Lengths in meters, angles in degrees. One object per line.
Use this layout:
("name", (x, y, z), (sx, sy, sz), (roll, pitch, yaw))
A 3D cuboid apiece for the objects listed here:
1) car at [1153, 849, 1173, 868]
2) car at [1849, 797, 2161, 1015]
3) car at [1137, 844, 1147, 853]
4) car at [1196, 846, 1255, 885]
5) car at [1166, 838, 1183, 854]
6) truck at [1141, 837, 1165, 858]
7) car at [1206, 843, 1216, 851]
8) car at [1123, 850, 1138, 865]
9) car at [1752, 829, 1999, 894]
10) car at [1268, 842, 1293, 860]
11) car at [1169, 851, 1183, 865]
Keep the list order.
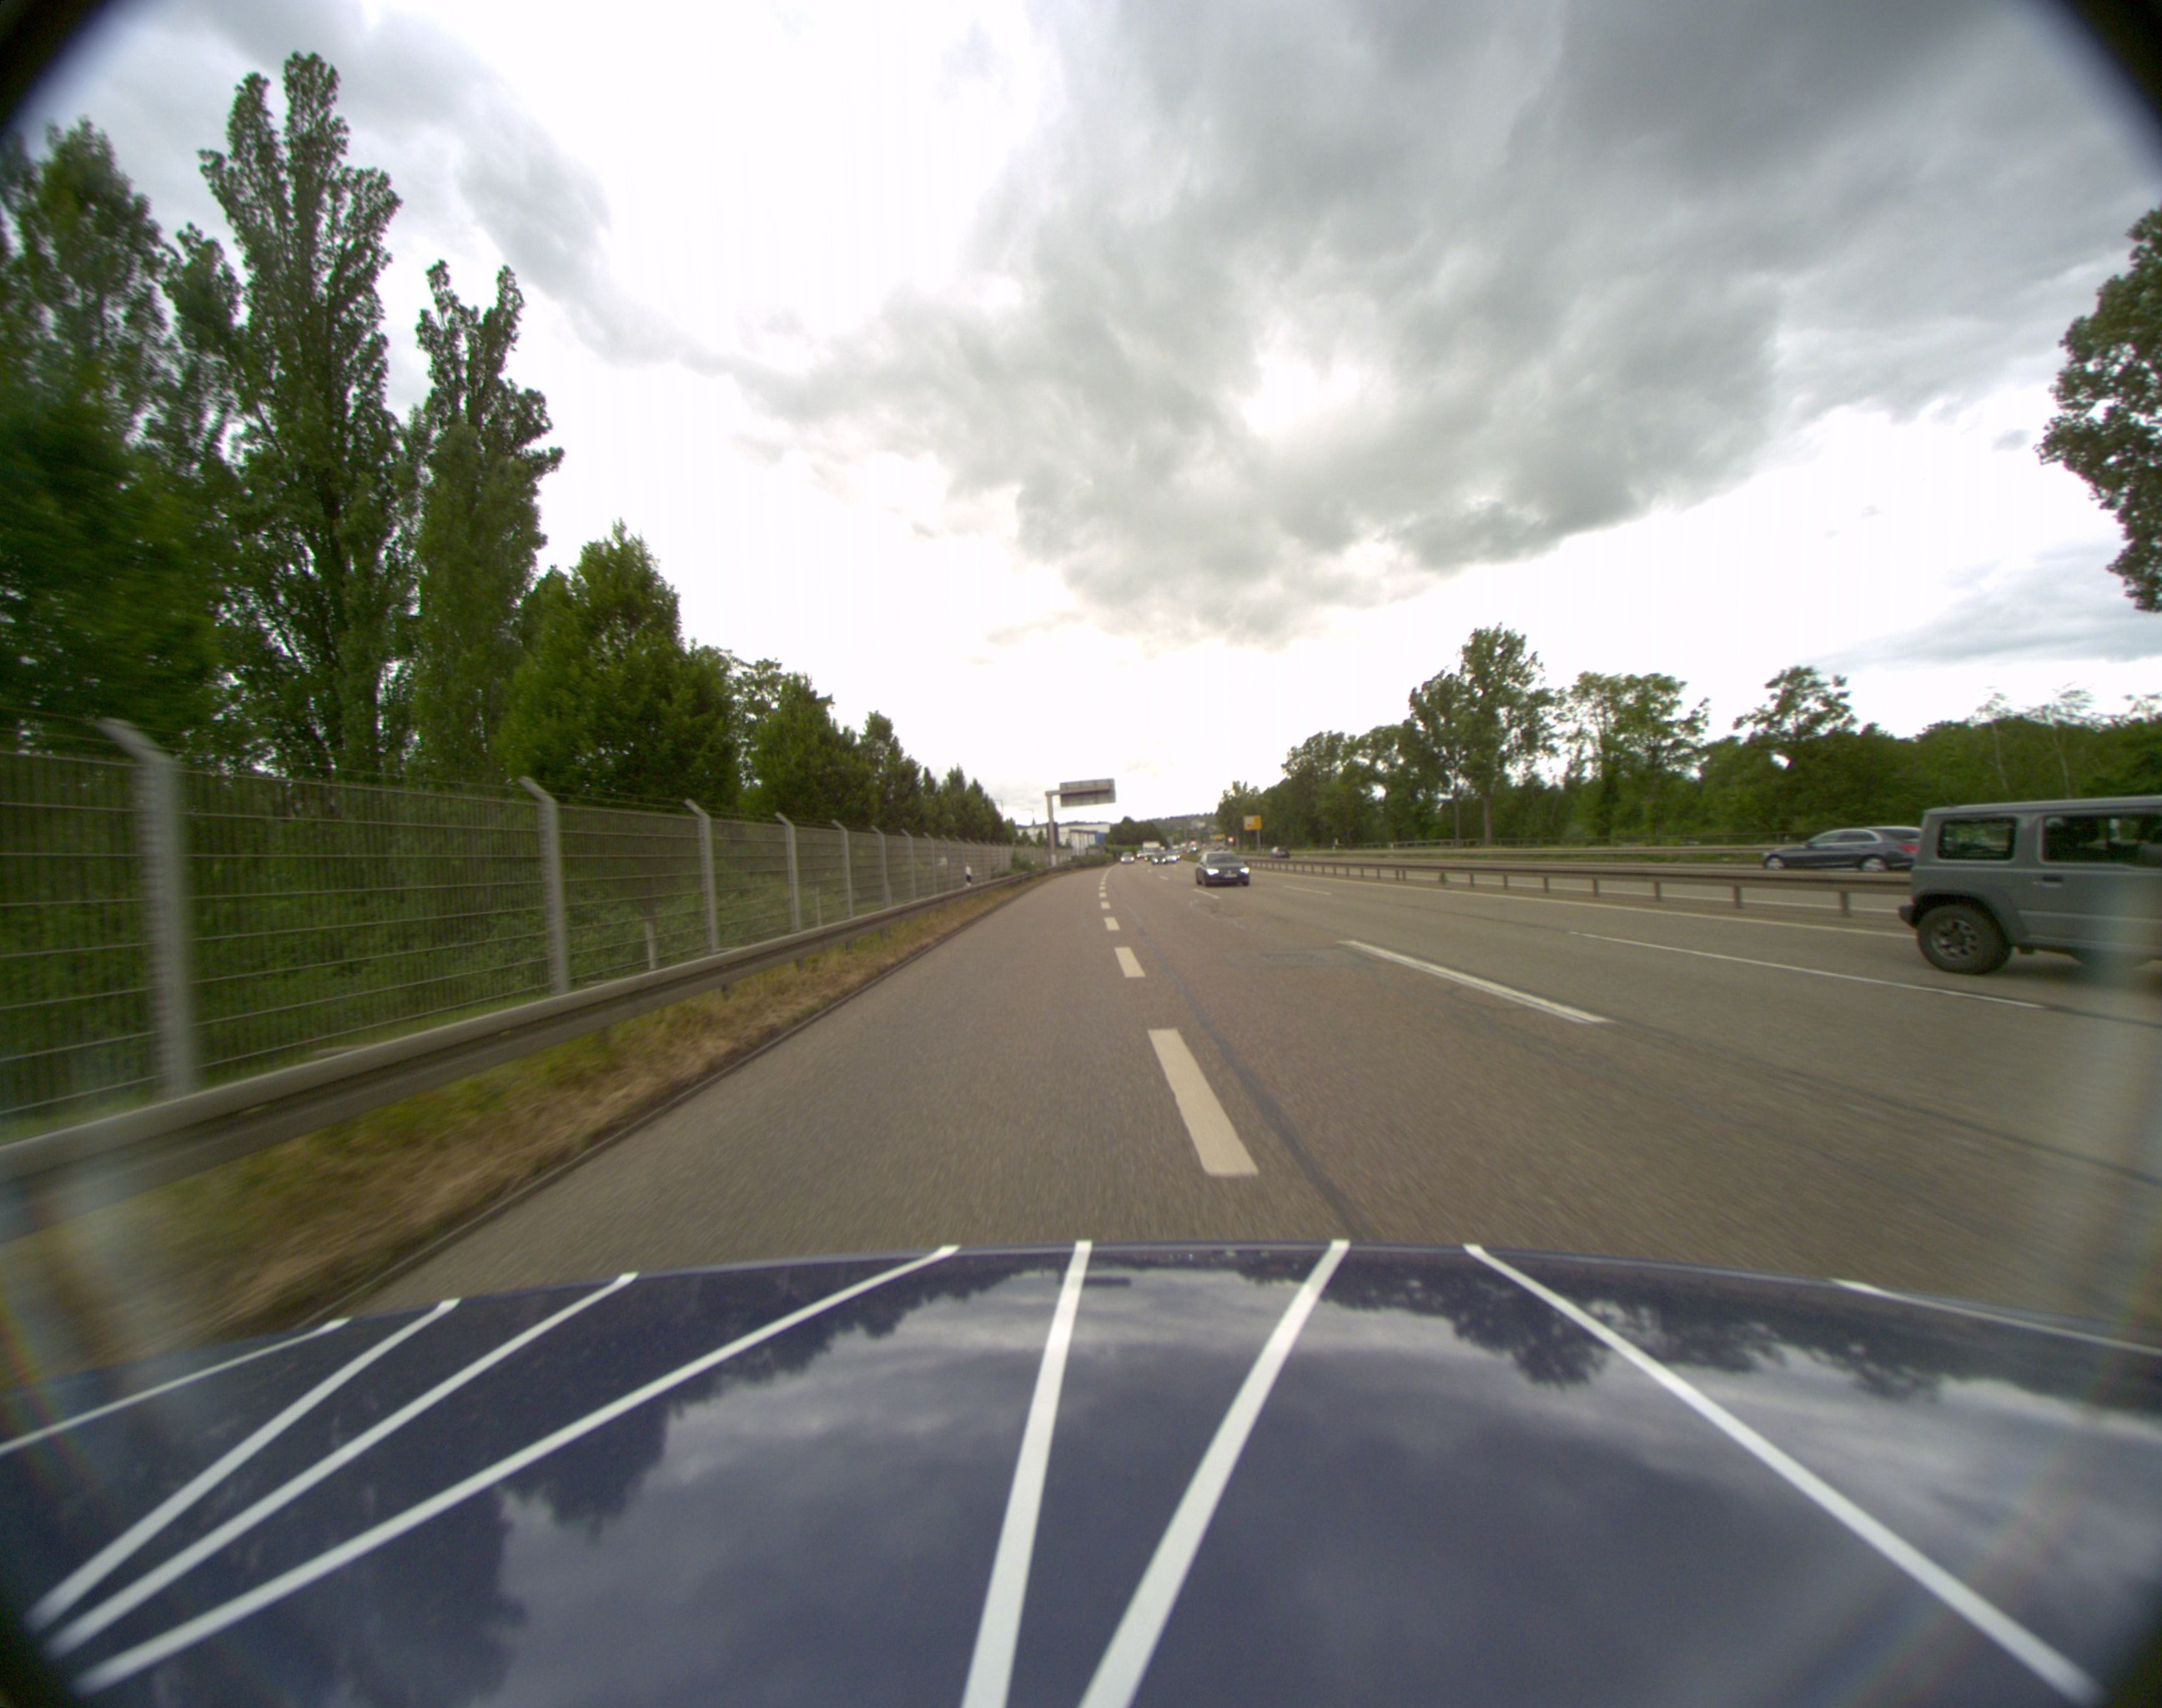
("car", (9.502, 0.480, 88.500), (1.998, 2.002, 4.001), (-4, 0, 4))
("car", (9.379, 0.380, 6.467), (1.685, 1.726, 3.998), (-2, 1, 1))
("car", (13.852, -1.287, 171.853), (1.998, 2.002, 4.000), (-3, 0, 1))
("car", (6.060, 0.445, 32.271), (1.939, 1.492, 4.305), (-2, 0, 4))
("car", (11.837, -0.999, 96.757), (1.877, 1.853, 4.001), (-3, 0, 4))
("truck", (11.673, -1.061, 123.271), (3.039, 3.141, 7.566), (-2, 2, 0))
("car", (33.098, -1.719, 193.031), (1.998, 2.002, 4.000), (-3, 0, 2))
("car", (6.994, 0.480, 107.489), (1.998, 2.002, 4.001), (-4, 0, 4))
("car", (21.930, 0.200, 21.324), (1.999, 1.599, 4.649), (-1, 0, -2))
("car", (25.002, -0.398, 95.267), (1.998, 2.002, 5.223), (-4, 0, 4))
("car", (15.788, 0.644, 125.883), (1.998, 2.002, 4.001), (-4, 0, 4))
